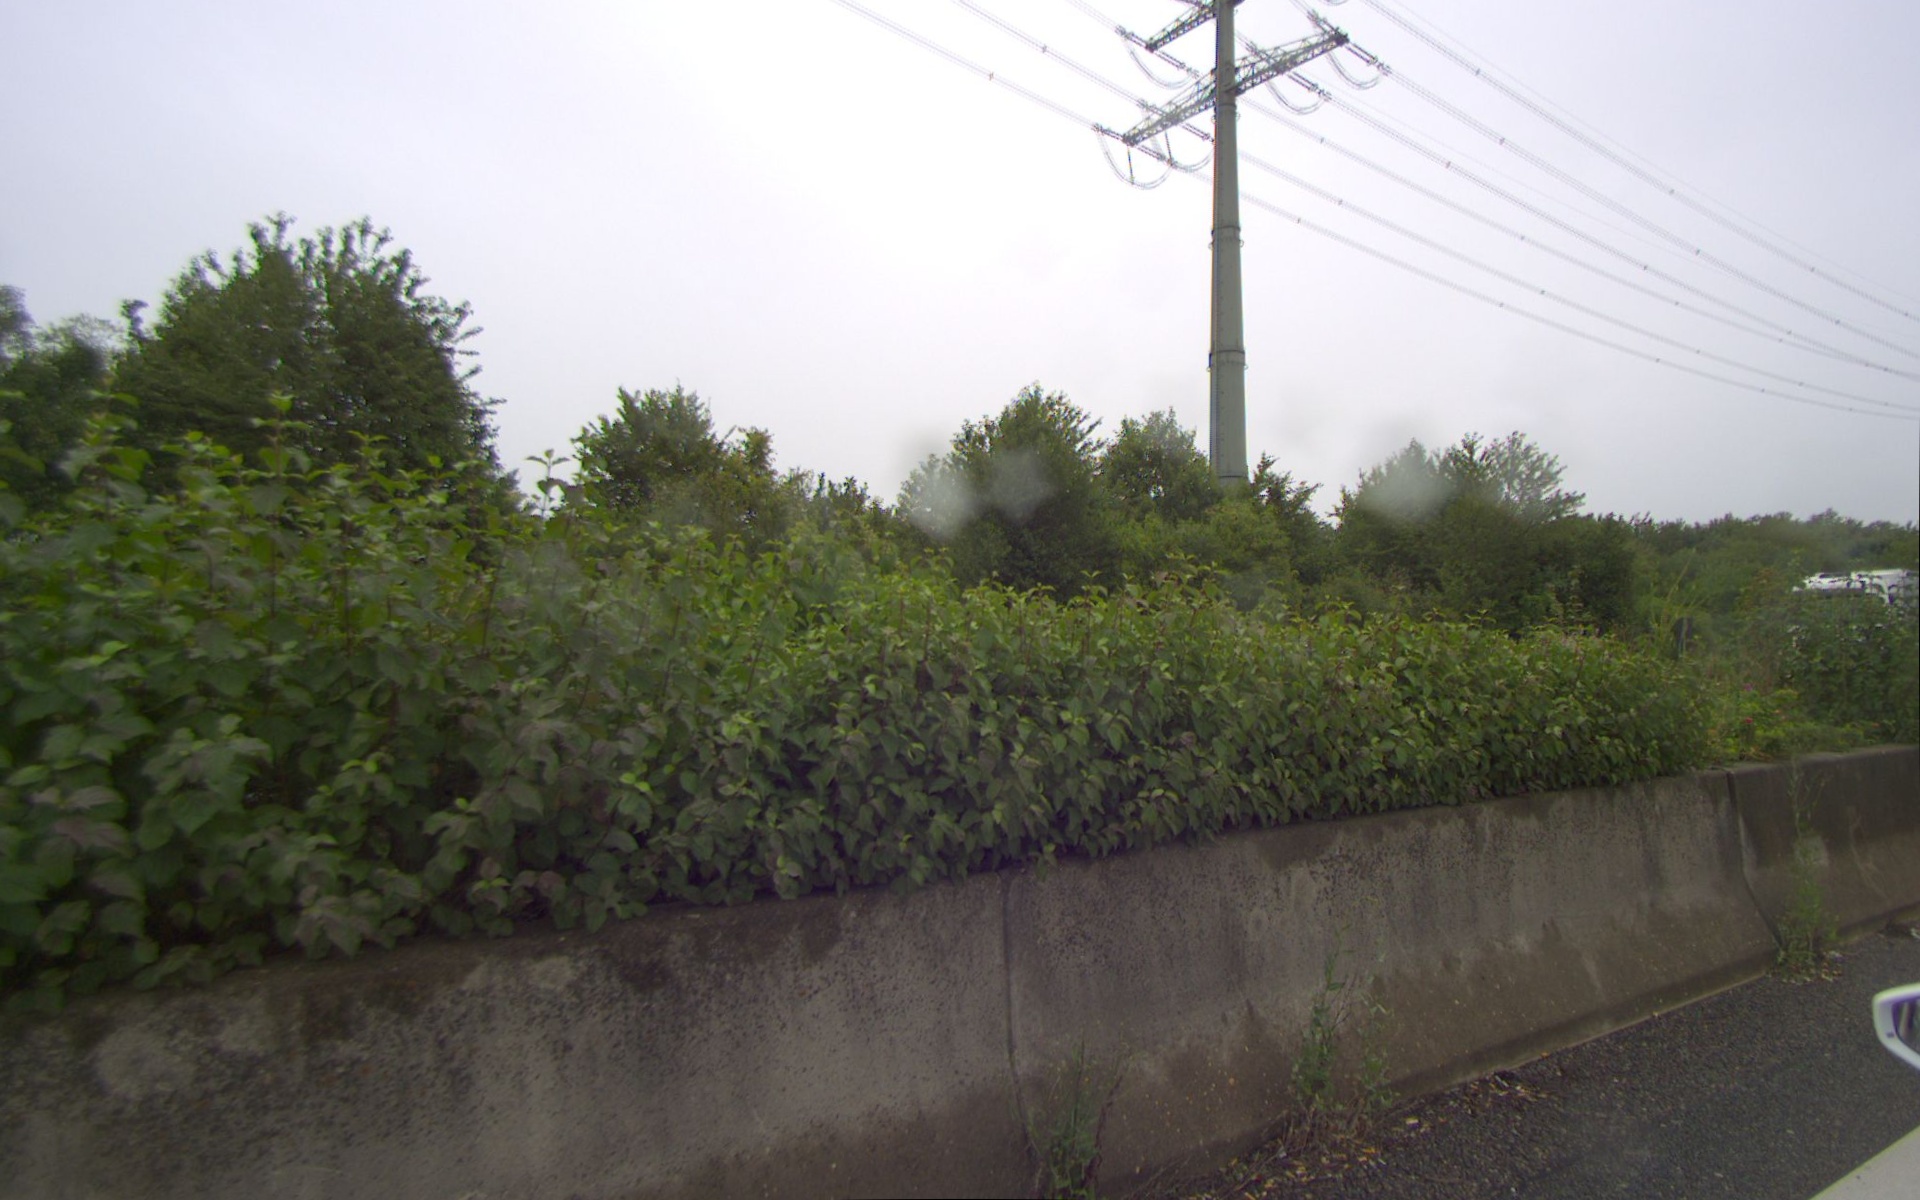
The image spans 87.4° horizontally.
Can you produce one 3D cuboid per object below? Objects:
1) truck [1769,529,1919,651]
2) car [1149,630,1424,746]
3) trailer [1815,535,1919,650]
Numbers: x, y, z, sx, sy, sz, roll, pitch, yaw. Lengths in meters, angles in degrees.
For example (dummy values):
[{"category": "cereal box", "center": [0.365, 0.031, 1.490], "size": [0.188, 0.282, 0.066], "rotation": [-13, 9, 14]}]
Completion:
[{"category": "truck", "center": [33.092, -0.197, 36.954], "size": [7.151, 4.076, 2.772], "rotation": [1, -4, -31]}, {"category": "car", "center": [5.138, 1.280, 15.741], "size": [3.954, 1.547, 1.984], "rotation": [1, -1, -31]}, {"category": "trailer", "center": [38.870, -0.063, 40.388], "size": [13.100, 4.076, 2.772], "rotation": [1, -4, -31]}]
